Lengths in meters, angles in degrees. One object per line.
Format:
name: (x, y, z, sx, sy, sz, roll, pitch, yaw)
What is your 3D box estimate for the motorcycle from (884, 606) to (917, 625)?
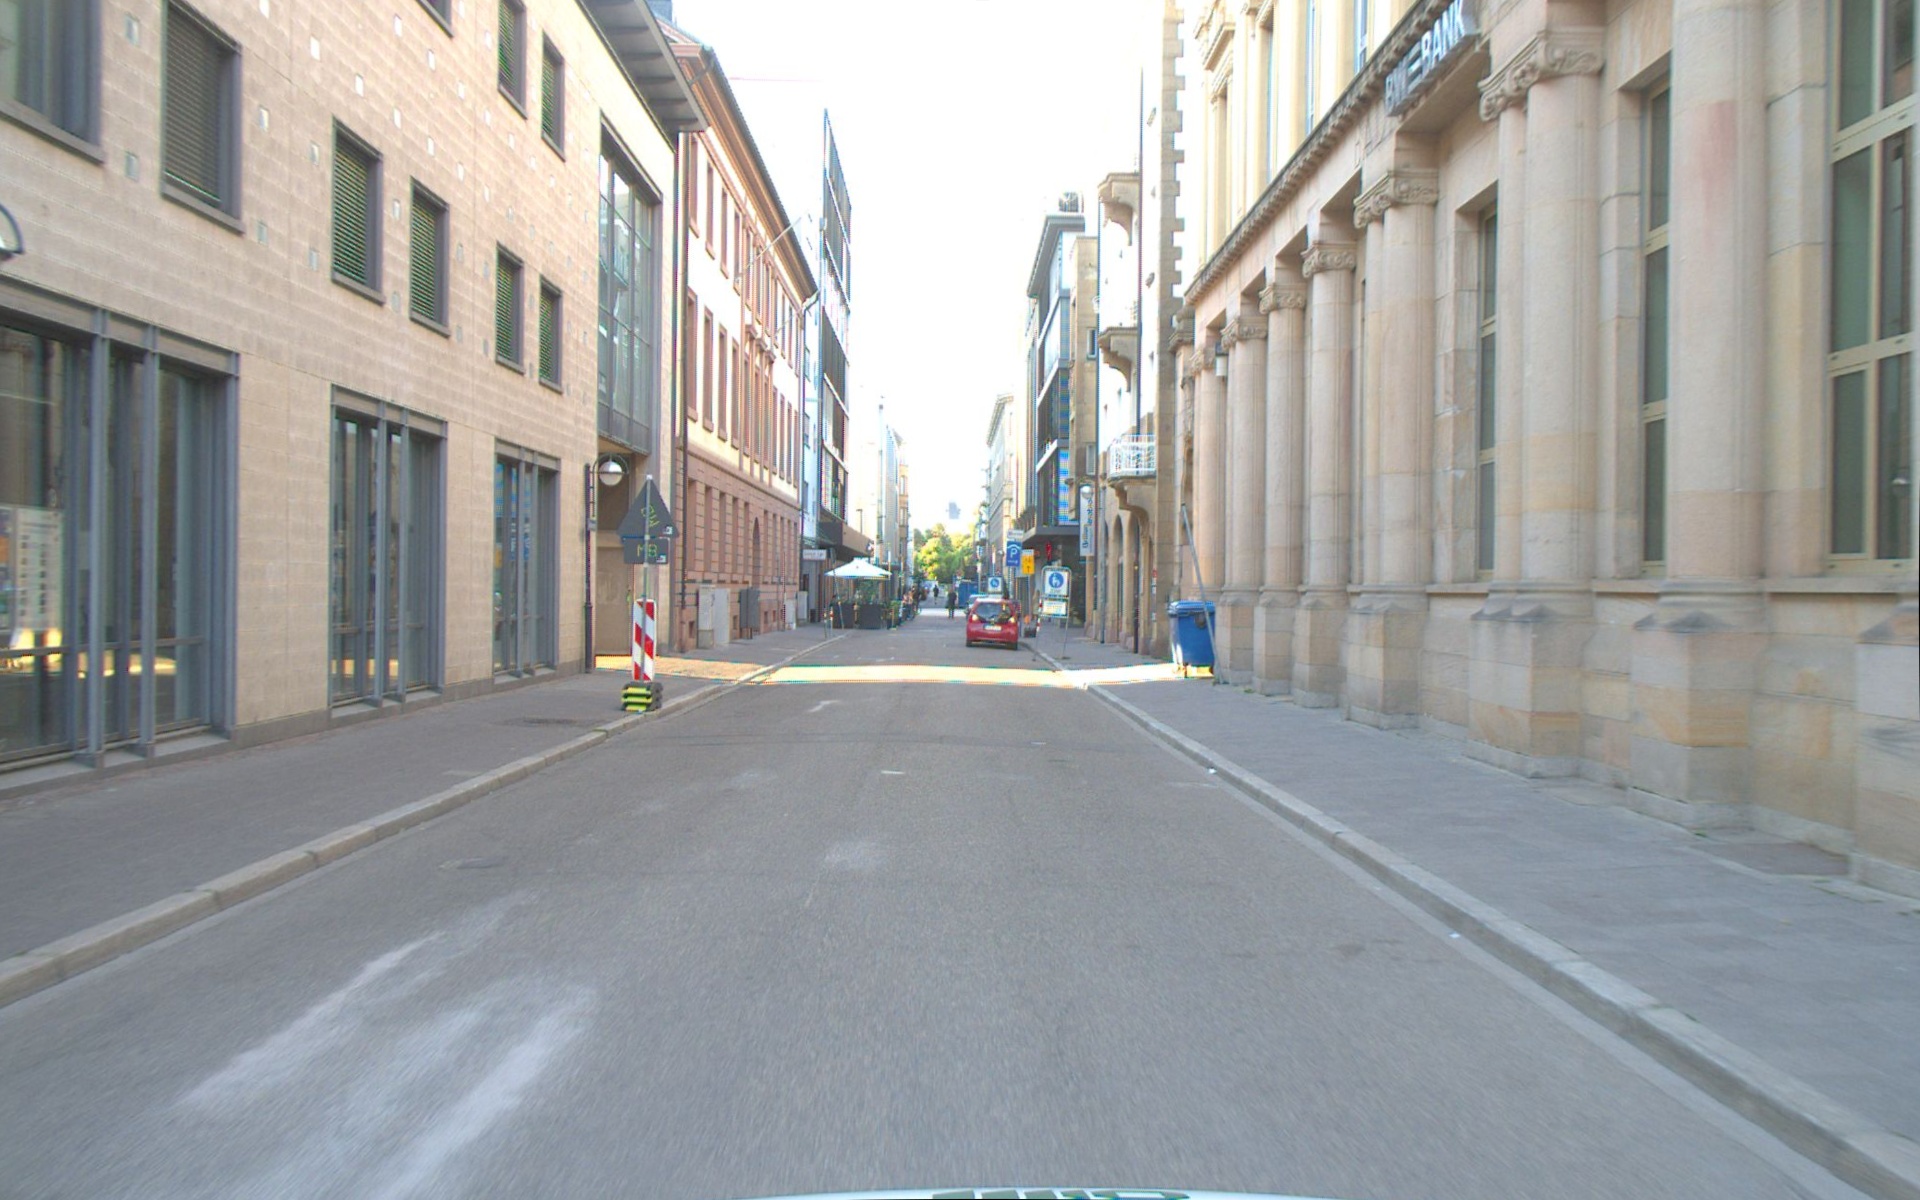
motorcycle: (-3.312, 0.877, 91.885, 1.766, 1.007, 0.560, 1, 0, -5)

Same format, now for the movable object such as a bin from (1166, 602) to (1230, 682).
movable object such as a bin: (4.319, 0.746, 30.114, 0.970, 1.416, 1.240, 0, 0, -1)

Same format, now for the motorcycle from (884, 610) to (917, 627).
motorcycle: (-3.285, 1.015, 90.851, 1.766, 0.891, 0.560, 1, 0, -5)

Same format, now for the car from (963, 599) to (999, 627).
car: (1.261, 0.761, 100.635, 1.953, 1.639, 3.998, 1, 0, -2)

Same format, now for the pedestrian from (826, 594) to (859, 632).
pedestrian: (-4.733, 0.514, 66.825, 1.264, 1.514, 0.661, 1, 0, -3)

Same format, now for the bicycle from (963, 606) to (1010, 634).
bicycle: (1.148, 0.881, 72.884, 2.012, 1.154, 0.648, 1, 0, -4)

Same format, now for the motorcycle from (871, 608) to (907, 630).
motorcycle: (-3.541, 0.942, 82.783, 1.766, 1.059, 0.493, 1, 0, -5)

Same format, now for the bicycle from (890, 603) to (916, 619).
bicycle: (-3.354, 0.645, 97.391, 1.501, 0.912, 0.481, 1, 0, -29)

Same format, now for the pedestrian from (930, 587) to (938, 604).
pedestrian: (-2.764, -0.475, 174.960, 0.788, 1.702, 0.888, 1, 0, 1)

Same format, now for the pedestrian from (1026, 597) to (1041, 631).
pedestrian: (3.289, 0.608, 74.247, 0.643, 1.514, 0.493, 1, 0, 1)

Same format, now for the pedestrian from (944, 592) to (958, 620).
pedestrian: (-0.578, 0.369, 102.538, 0.848, 1.743, 0.852, 1, 0, -1)

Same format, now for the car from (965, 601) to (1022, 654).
car: (0.991, 0.819, 51.024, 1.616, 1.452, 3.535, 4, 0, 0)

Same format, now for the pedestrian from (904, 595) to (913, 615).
pedestrian: (-4.404, 0.413, 141.762, 0.664, 1.651, 0.626, 1, 0, 1)

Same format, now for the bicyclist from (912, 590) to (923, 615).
bicyclist: (-2.791, 0.158, 108.090, 0.624, 1.669, 0.770, 0, 0, -9)
